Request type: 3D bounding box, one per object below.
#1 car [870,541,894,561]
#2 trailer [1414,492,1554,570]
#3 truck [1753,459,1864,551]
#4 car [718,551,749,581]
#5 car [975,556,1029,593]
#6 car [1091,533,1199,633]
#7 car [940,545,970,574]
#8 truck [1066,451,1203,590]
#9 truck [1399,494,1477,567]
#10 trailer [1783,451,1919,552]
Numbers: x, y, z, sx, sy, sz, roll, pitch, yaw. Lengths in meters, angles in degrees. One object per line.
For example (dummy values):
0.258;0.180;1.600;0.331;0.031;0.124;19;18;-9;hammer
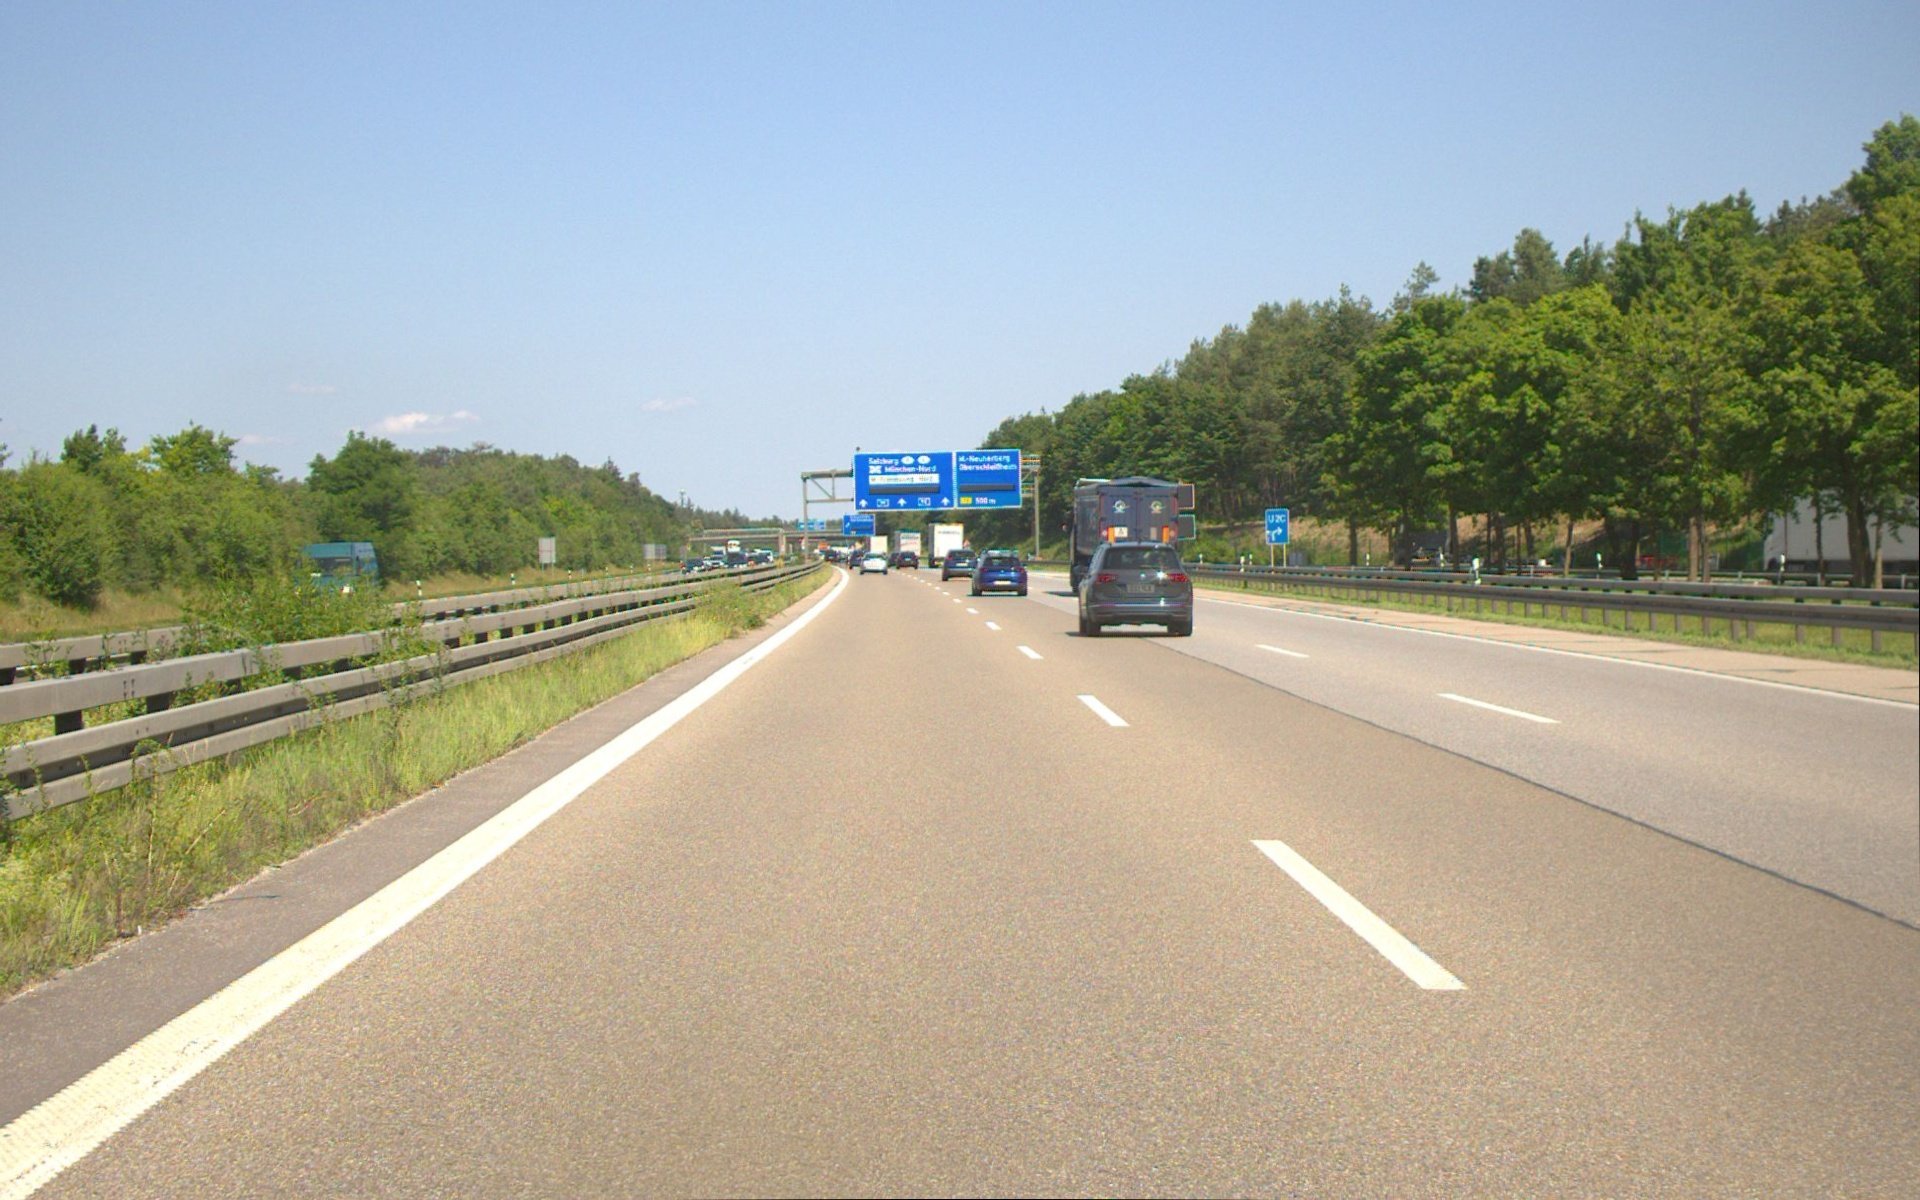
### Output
-5.069;-3.204;223.980;1.471;1.223;3.410;-1;1;-1;car
27.359;-3.591;180.312;2.571;3.901;12.753;0;1;-14;trailer
35.429;-3.931;143.673;2.808;3.783;5.147;0;1;-8;truck
-16.564;-2.509;251.495;1.993;2.102;4.302;-2;1;-1;car
1.376;-0.863;114.740;1.709;1.151;3.689;-1;1;0;car
3.199;-0.331;60.041;1.799;1.663;4.258;1;1;2;car
-0.275;-2.058;174.368;1.471;1.393;3.410;2;1;-1;car
5.786;-2.660;116.741;3.780;4.407;14.051;0;1;-1;truck
25.897;-3.771;186.301;2.571;3.901;4.868;0;1;-14;truck
36.544;-3.810;135.894;2.857;3.783;14.193;0;1;-8;trailer
